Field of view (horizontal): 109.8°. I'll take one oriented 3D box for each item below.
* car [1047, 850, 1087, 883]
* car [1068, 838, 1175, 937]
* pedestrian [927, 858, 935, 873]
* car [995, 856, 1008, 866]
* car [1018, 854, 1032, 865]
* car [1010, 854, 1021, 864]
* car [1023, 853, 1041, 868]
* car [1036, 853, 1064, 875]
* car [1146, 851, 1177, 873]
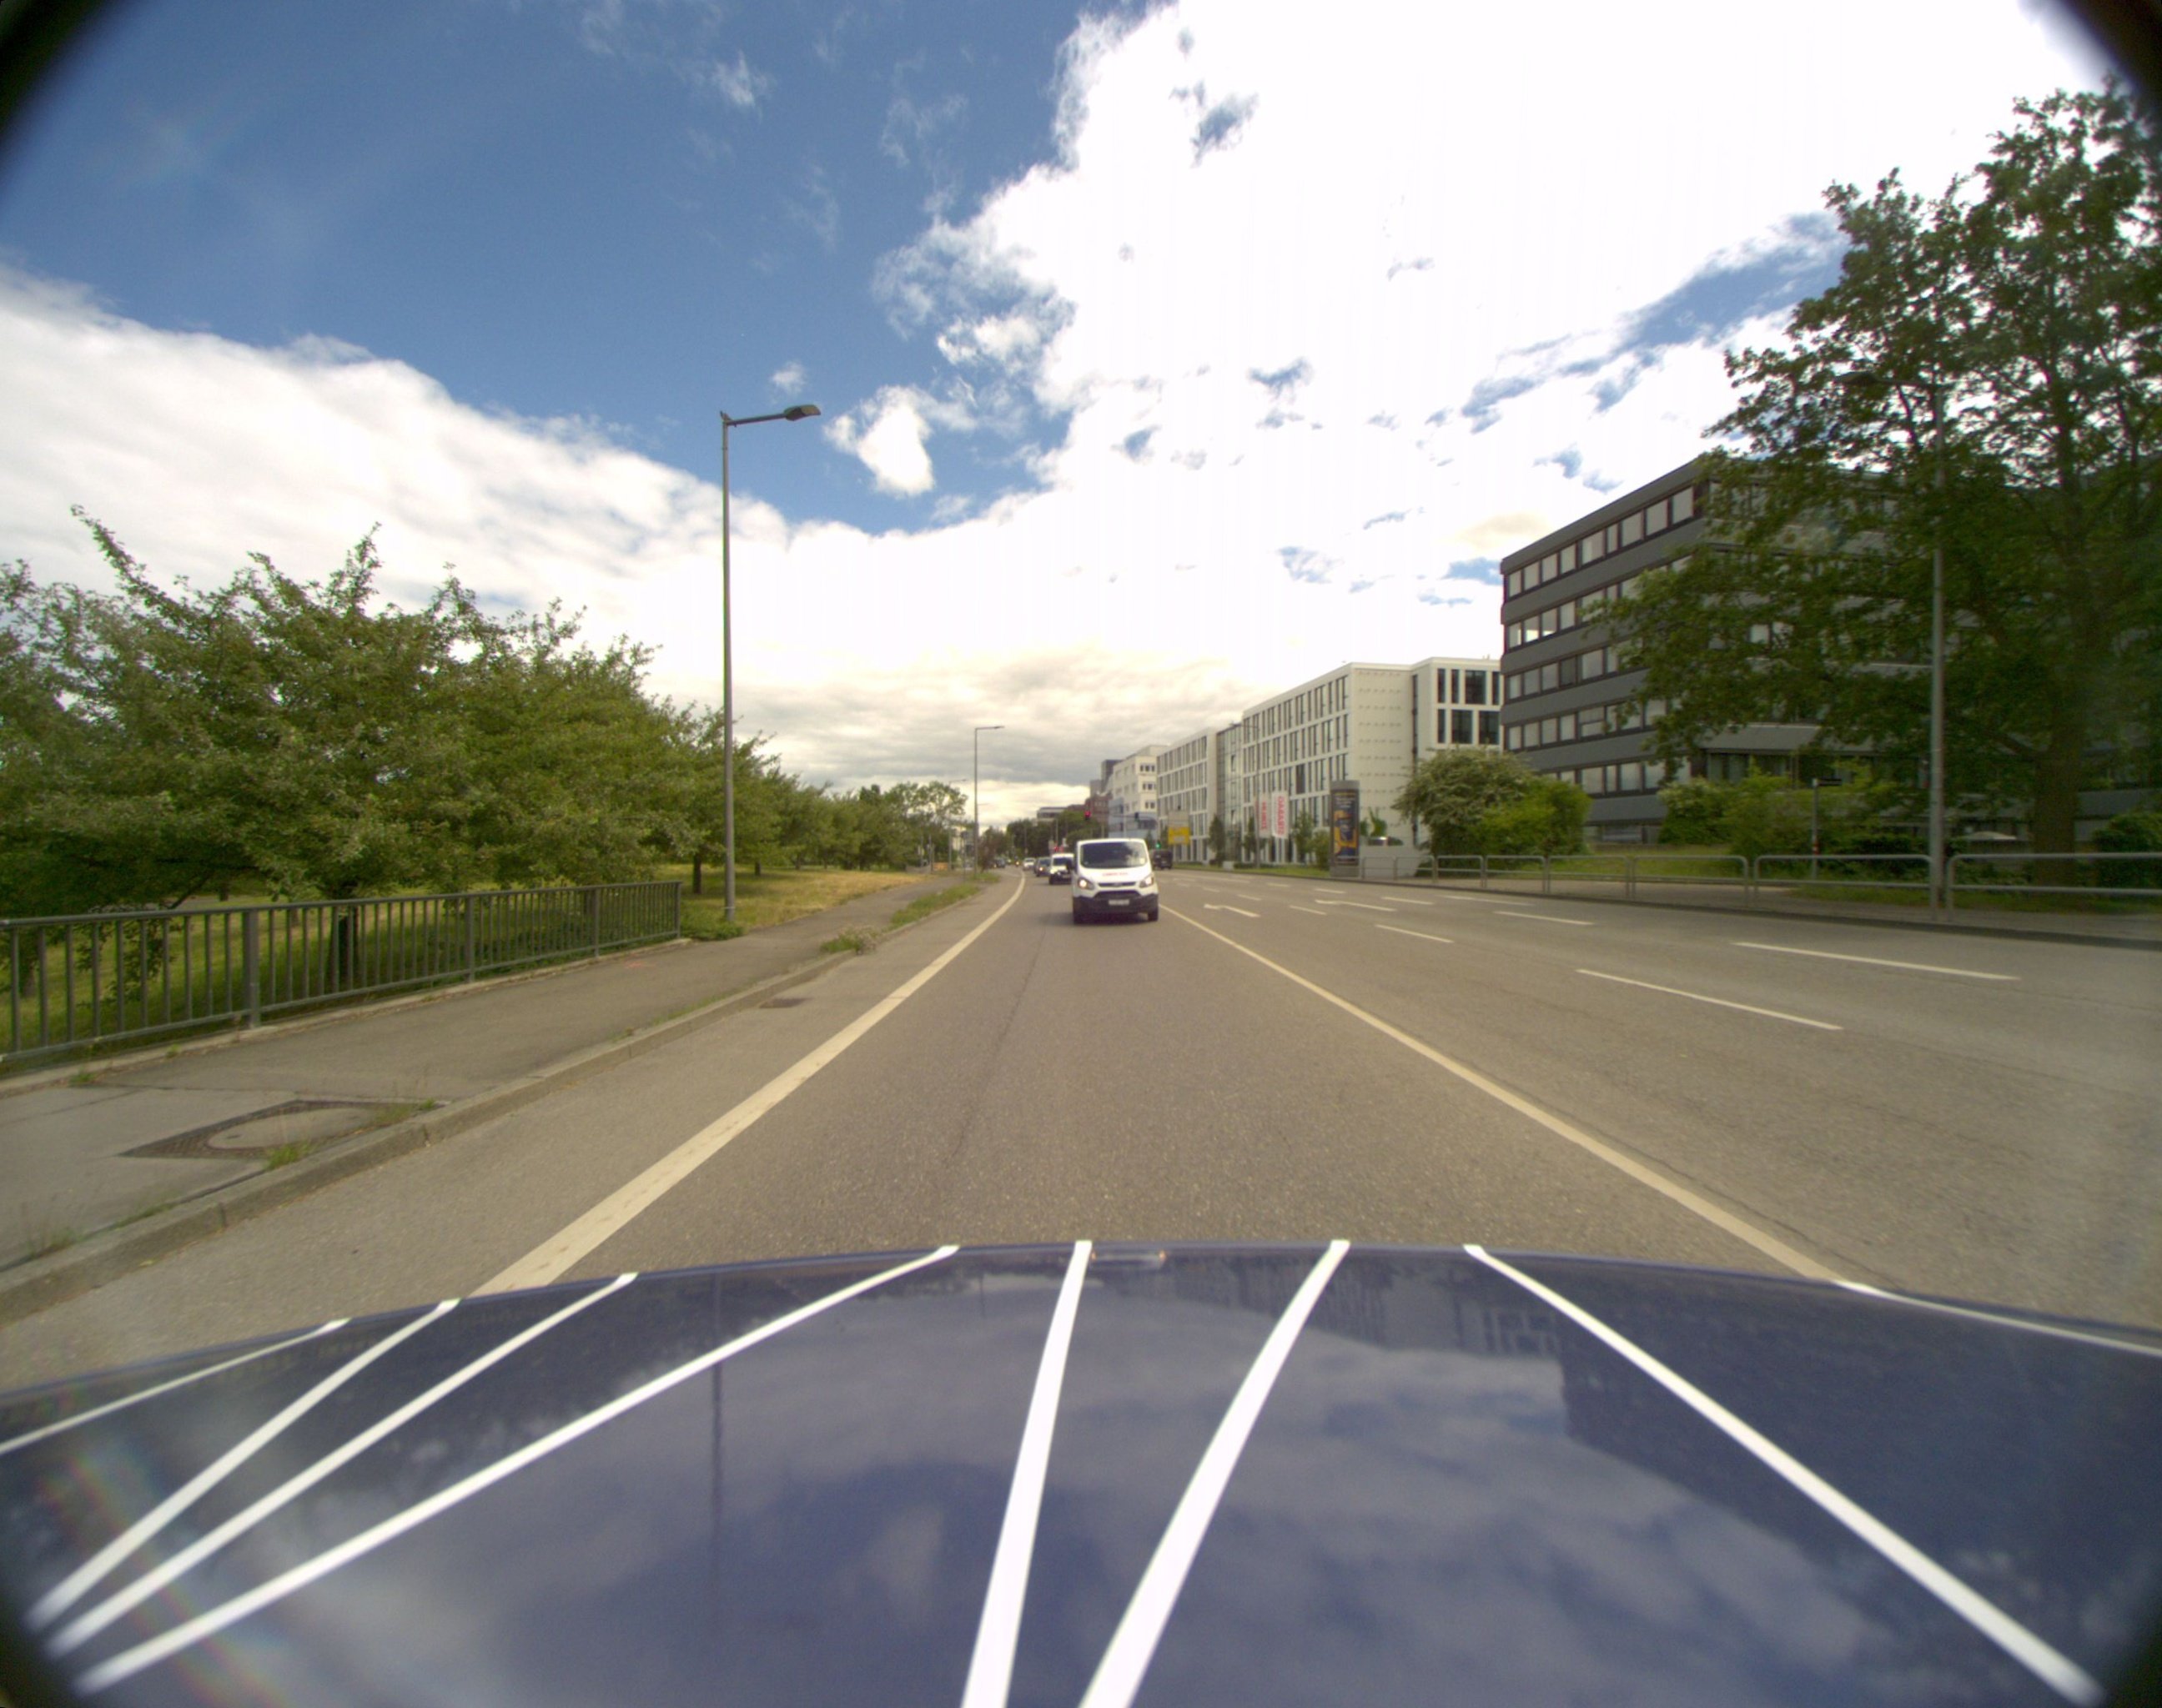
[{"bbox_3d":[-0.900,0.709,45.213,1.873,1.836,4.368,-2,0,-7],"label":"car"},{"bbox_3d":[0.778,0.679,18.732,2.122,1.963,6.205,-2,0,-1],"label":"car"},{"bbox_3d":[-18.483,1.391,93.684,0.801,1.872,0.764,-2,1,-20],"label":"pedestrian"},{"bbox_3d":[-12.061,1.003,115.306,1.736,1.432,4.365,-2,0,-7],"label":"car"},{"bbox_3d":[-8.991,0.869,121.048,1.873,1.685,4.368,-2,0,-9],"label":"car"},{"bbox_3d":[-12.521,0.927,145.548,1.873,1.685,4.368,-2,0,-7],"label":"car"},{"bbox_3d":[-5.947,0.769,92.525,1.873,1.685,4.368,-2,0,-7],"label":"car"},{"bbox_3d":[-2.588,0.807,62.897,1.873,1.685,4.368,-2,0,-7],"label":"car"},{"bbox_3d":[7.555,0.711,71.891,2.024,1.936,5.363,-1,0,-3],"label":"car"}]
